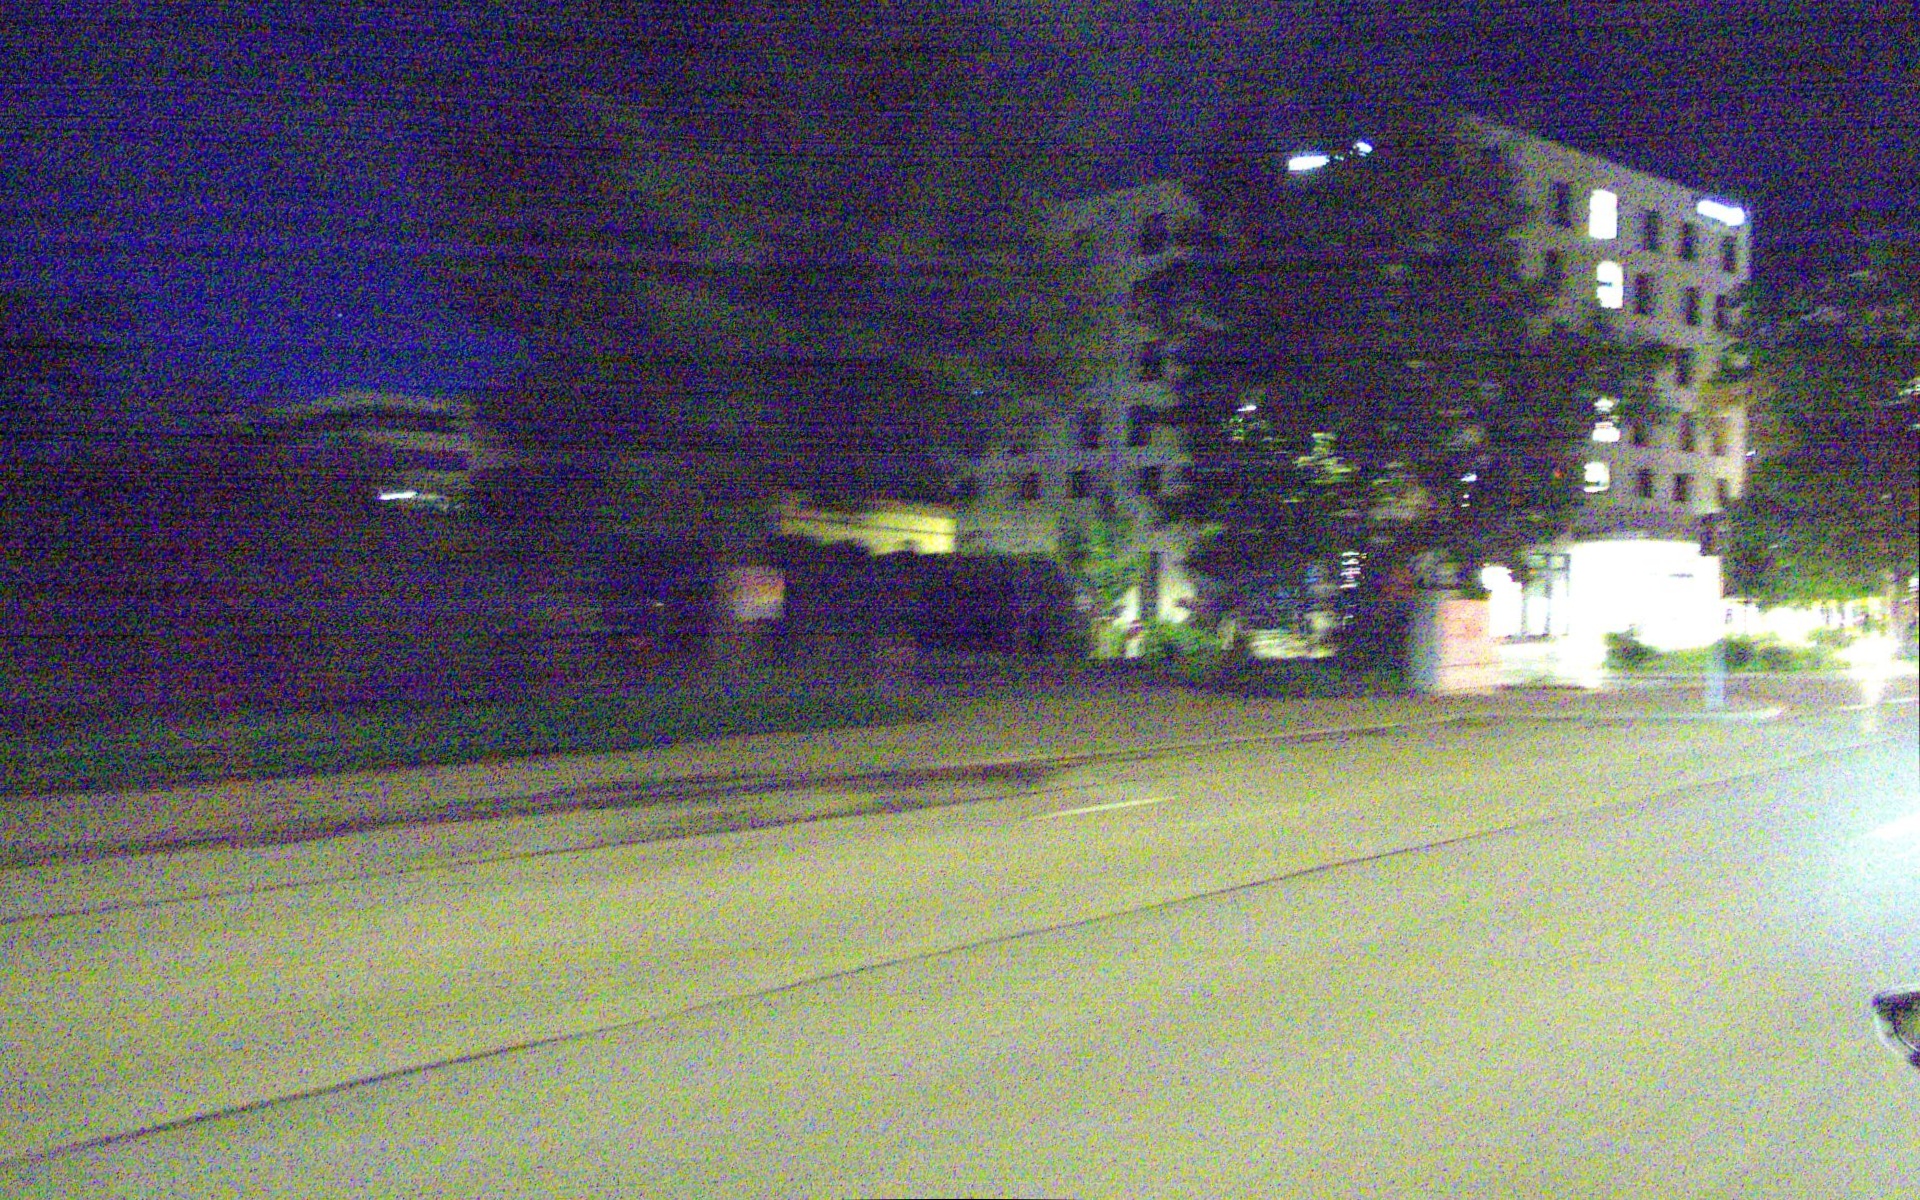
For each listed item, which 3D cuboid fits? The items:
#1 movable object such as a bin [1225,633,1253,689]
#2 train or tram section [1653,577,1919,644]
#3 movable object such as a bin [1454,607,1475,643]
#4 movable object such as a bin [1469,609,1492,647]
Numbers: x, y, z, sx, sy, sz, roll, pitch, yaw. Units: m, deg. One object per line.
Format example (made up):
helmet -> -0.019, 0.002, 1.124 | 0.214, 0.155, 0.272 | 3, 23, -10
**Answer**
movable object such as a bin -> 6.807, 1.483, 24.483 | 0.608, 1.324, 0.569 | -1, -2, 18
train or tram section -> 54.513, 0.690, 63.024 | 2.886, 3.874, 19.102 | 1, -1, -27
movable object such as a bin -> 19.733, 0.978, 39.291 | 0.724, 1.389, 0.354 | -3, 1, -33
movable object such as a bin -> 20.548, 1.084, 39.648 | 0.799, 1.471, 0.438 | -1, 0, -31
